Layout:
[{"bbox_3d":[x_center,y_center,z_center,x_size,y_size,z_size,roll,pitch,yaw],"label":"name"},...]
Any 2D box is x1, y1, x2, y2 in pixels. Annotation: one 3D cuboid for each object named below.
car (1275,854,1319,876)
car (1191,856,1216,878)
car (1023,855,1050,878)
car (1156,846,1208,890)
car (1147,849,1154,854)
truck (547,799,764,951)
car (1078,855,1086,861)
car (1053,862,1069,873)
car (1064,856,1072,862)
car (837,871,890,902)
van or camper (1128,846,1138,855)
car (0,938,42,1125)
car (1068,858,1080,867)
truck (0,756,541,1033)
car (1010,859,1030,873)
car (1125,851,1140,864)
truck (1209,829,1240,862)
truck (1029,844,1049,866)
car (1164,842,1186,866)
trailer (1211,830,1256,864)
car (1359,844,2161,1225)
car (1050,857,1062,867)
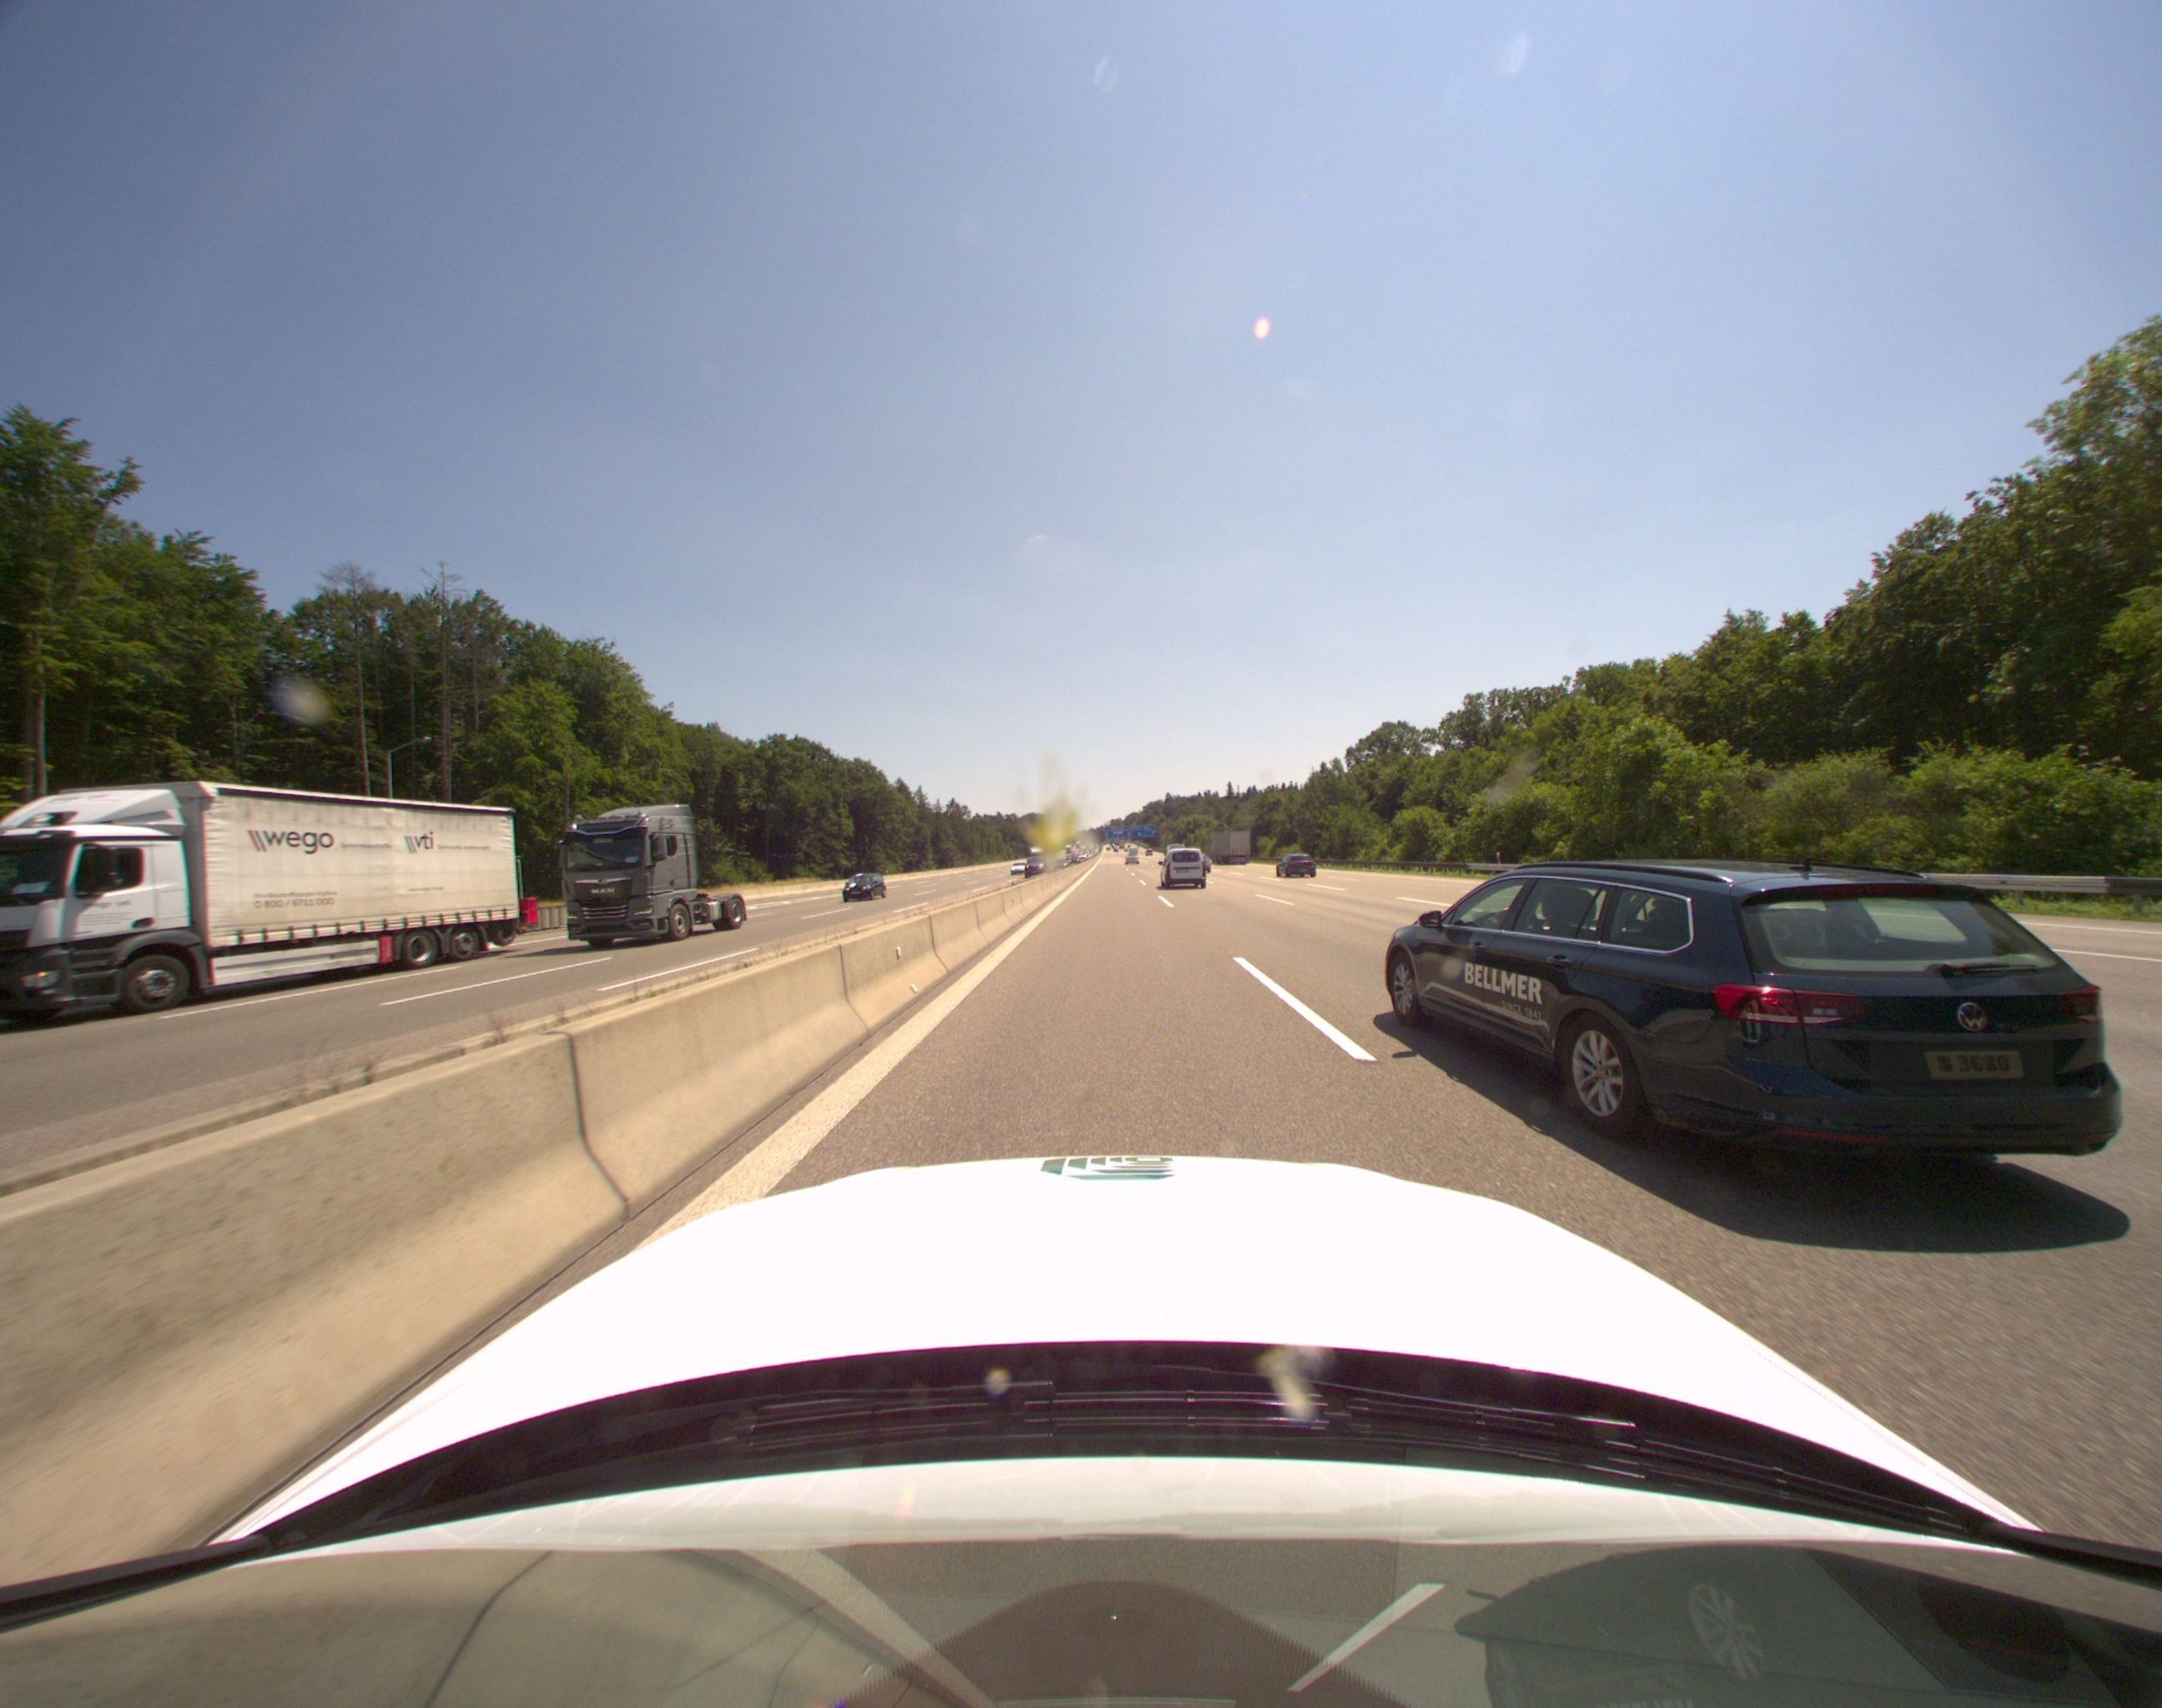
[{"bbox_3d":[13.076,0.689,49.528,1.664,1.273,4.292,0,-1,2],"label":"car"},{"bbox_3d":[9.598,1.064,64.045,1.498,1.501,3.650,-3,-3,2],"label":"car"},{"bbox_3d":[-4.063,1.092,74.866,1.891,1.953,5.659,-3,0,2],"label":"car"},{"bbox_3d":[4.628,0.614,37.787,1.853,1.825,4.613,-3,0,1],"label":"car"},{"bbox_3d":[19.005,-0.601,222.846,1.828,1.338,3.644,-3,0,2],"label":"car"},{"bbox_3d":[-12.579,0.556,24.951,2.568,3.841,7.020,-3,0,2],"label":"truck"},{"bbox_3d":[0.225,0.916,207.311,1.818,1.394,4.464,-3,0,0],"label":"car"},{"bbox_3d":[-2.646,1.820,110.208,1.906,1.464,4.589,-3,-1,2],"label":"car"},{"bbox_3d":[-3.201,1.239,204.382,1.696,1.427,4.614,-3,0,1],"label":"car"},{"bbox_3d":[-12.107,1.791,45.563,1.747,1.486,3.815,-4,0,1],"label":"car"},{"bbox_3d":[14.782,-0.993,232.591,2.635,2.538,6.505,-3,0,2],"label":"van or camper"},{"bbox_3d":[-9.802,1.513,4.736,1.717,1.506,4.460,-3,0,0],"label":"car"},{"bbox_3d":[-1.224,1.601,146.929,1.906,1.464,4.365,-3,-1,2],"label":"car"},{"bbox_3d":[-17.022,0.694,17.810,2.824,4.197,10.601,-3,0,2],"label":"truck"},{"bbox_3d":[-6.959,1.355,93.511,1.754,1.464,4.841,-3,0,2],"label":"car"},{"bbox_3d":[7.226,0.456,114.664,1.836,1.629,4.555,-3,0,2],"label":"car"},{"bbox_3d":[19.017,-1.149,108.358,3.242,4.106,5.990,-1,1,2],"label":"truck"},{"bbox_3d":[-8.215,0.181,159.853,2.847,4.012,9.472,-3,0,2],"label":"truck"},{"bbox_3d":[11.267,-0.038,98.413,2.135,2.652,5.713,-2,1,2],"label":"car"},{"bbox_3d":[18.886,-0.940,101.838,3.275,3.930,13.895,-1,1,1],"label":"trailer"},{"bbox_3d":[3.545,0.699,5.635,1.722,1.447,4.964,-1,0,3],"label":"car"},{"bbox_3d":[-4.702,1.470,155.606,1.906,1.661,4.691,-3,0,2],"label":"car"}]
